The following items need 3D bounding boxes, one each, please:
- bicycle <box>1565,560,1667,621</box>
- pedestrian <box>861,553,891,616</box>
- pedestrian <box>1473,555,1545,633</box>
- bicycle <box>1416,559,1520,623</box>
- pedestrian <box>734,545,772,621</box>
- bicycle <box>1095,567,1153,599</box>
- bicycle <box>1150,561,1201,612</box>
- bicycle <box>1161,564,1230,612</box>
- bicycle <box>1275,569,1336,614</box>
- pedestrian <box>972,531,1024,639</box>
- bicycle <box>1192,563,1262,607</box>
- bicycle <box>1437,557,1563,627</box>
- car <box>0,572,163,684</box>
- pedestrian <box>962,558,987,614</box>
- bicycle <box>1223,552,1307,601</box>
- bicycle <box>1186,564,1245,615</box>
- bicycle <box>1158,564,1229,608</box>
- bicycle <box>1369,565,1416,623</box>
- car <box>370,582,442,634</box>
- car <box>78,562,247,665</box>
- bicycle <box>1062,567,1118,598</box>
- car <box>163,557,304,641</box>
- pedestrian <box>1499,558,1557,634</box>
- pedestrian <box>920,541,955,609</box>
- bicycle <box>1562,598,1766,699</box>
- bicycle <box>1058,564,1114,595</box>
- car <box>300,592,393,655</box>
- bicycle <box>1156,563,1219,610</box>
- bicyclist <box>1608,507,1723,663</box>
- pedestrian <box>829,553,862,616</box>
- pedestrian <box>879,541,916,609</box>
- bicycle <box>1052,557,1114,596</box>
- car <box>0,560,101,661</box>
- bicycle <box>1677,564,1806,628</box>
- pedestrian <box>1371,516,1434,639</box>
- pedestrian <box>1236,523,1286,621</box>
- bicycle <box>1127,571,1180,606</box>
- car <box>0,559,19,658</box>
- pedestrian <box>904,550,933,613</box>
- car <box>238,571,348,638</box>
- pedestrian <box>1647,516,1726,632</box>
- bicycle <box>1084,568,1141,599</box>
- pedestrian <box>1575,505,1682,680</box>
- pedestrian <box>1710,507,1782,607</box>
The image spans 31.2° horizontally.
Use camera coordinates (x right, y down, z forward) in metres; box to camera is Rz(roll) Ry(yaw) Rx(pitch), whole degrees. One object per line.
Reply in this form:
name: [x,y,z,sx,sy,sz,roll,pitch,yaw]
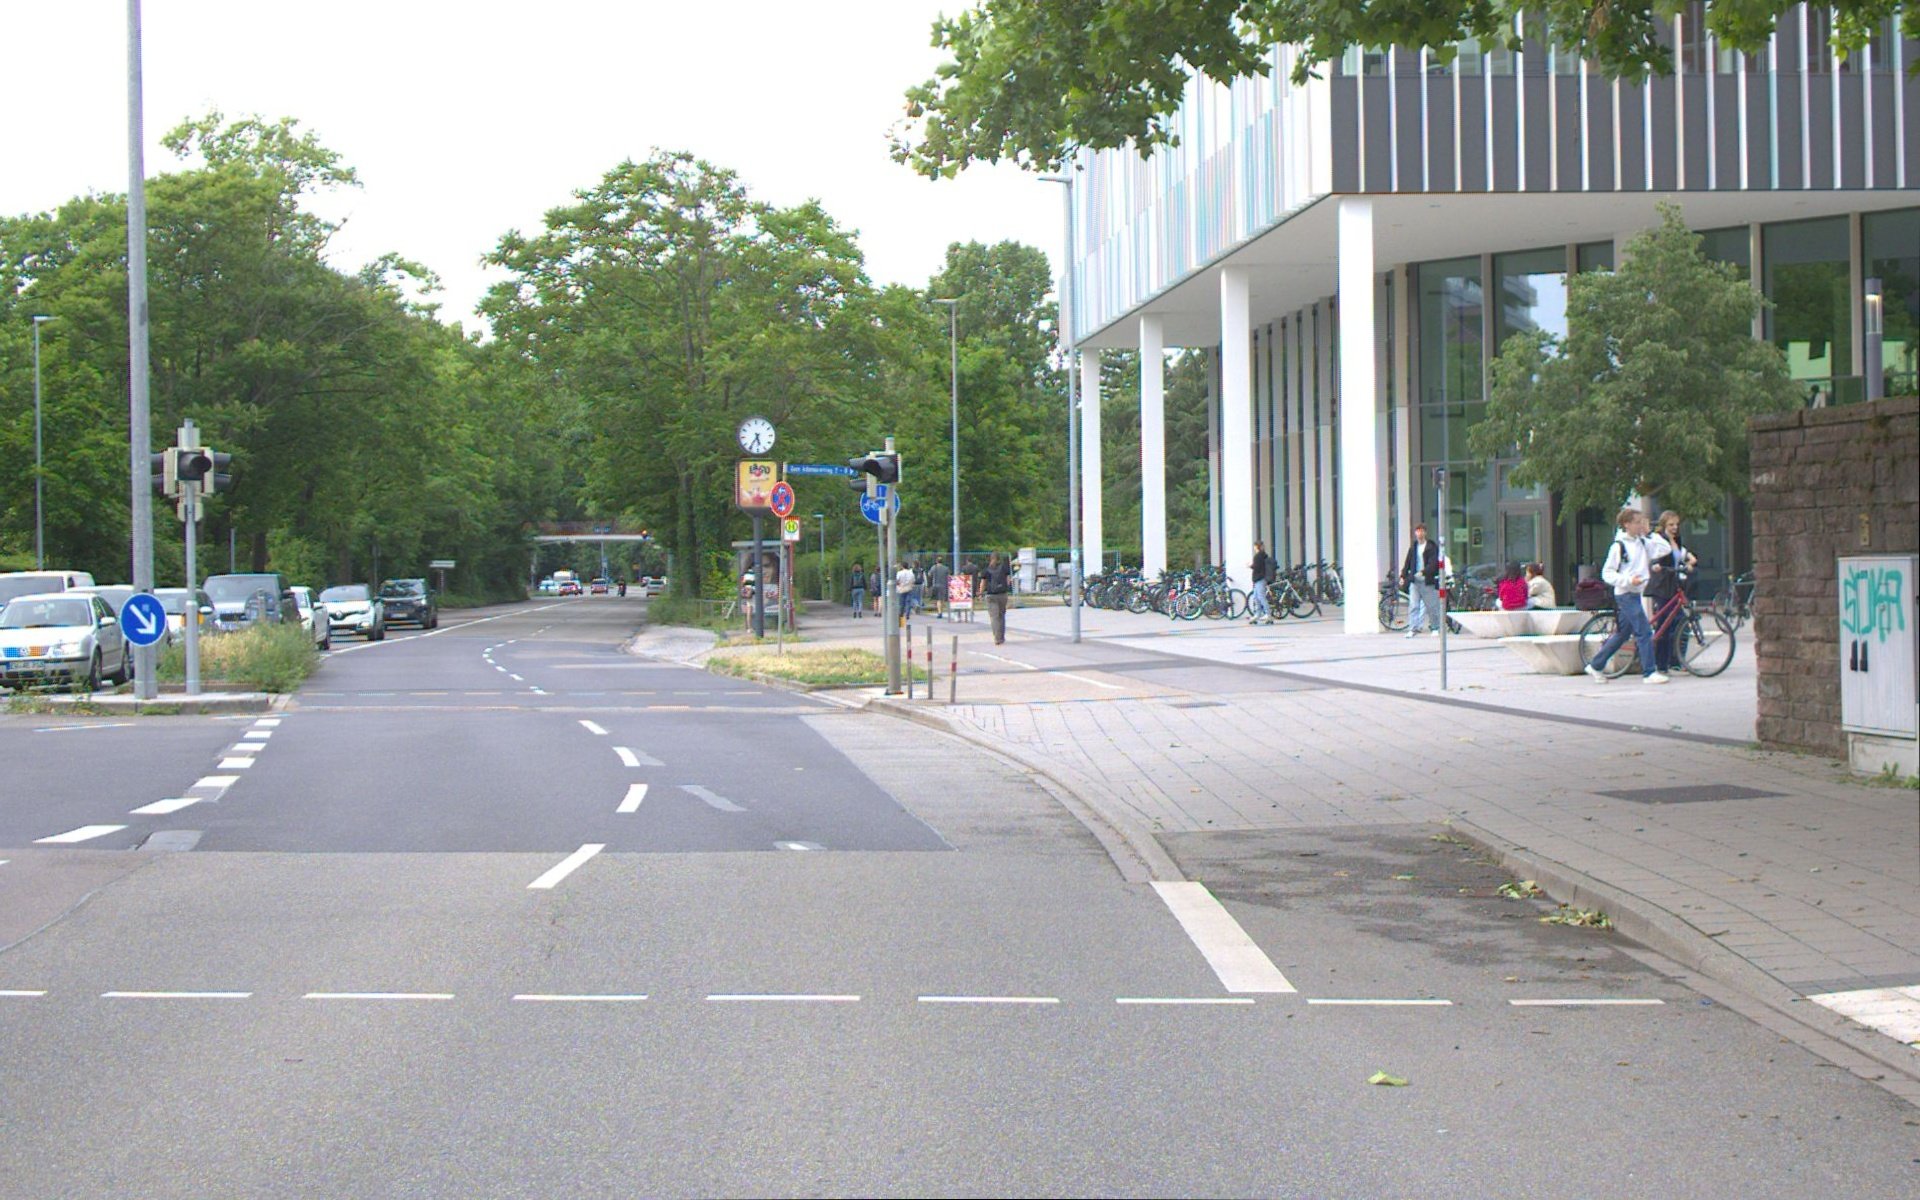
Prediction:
bicycle: [11.326,-0.169,59.313,0.774,0.998,1.955,-1,1,44]
pedestrian: [-2.733,-0.500,111.811,0.823,2.007,0.720,-1,0,-9]
pedestrian: [8.647,-0.092,54.147,0.844,1.202,0.893,-1,1,30]
bicycle: [9.249,-0.164,62.519,0.736,1.112,2.178,-1,1,43]
pedestrian: [-5.706,-0.472,94.769,0.912,2.006,0.854,-3,3,-5]
bicycle: [4.809,-0.493,100.926,1.606,0.872,0.556,-2,1,-4]
bicycle: [4.977,-0.317,79.475,0.635,1.136,2.201,-4,1,-9]
bicycle: [5.851,-0.296,85.293,1.644,1.087,0.572,-4,0,4]
bicycle: [7.558,-0.194,75.209,1.484,0.926,0.440,-3,3,-43]
pedestrian: [0.733,-0.291,65.849,0.842,2.007,0.894,-3,1,-3]
bicycle: [6.393,-0.357,82.255,1.606,0.932,0.568,-3,1,6]
bicycle: [9.624,-0.153,61.140,0.774,1.184,2.713,-1,1,44]
car: [-13.221,0.386,50.222,1.993,1.524,4.274,-1,1,2]
pedestrian: [0.434,-0.433,103.802,0.729,1.678,0.747,1,0,-1]
bicycle: [7.575,-0.582,85.494,1.985,1.140,0.647,-2,1,37]
bicycle: [5.693,-0.237,76.715,0.607,1.076,1.963,-3,1,-16]
bicycle: [5.685,-0.343,83.694,1.606,0.979,0.556,-4,1,-4]
bicycle: [8.124,-0.121,64.594,0.638,1.058,1.840,1,1,0]
car: [-17.917,0.241,111.274,1.902,1.588,4.517,-1,1,-4]
car: [-13.543,0.194,58.616,1.957,1.578,4.256,-2,1,-2]
bicycle: [3.920,-0.531,103.665,1.606,0.872,0.556,-2,1,-4]
car: [-15.031,-0.048,71.351,1.993,1.681,4.948,0,1,-1]
pedestrian: [9.050,-0.066,54.774,0.892,1.189,0.845,-1,1,10]
pedestrian: [-0.673,-0.753,103.298,0.925,2.007,1.040,-1,0,-6]
bicycle: [7.517,0.503,36.749,1.973,1.014,0.794,1,1,35]
bicycle: [3.830,-0.619,104.619,1.606,0.872,0.556,-2,1,-4]
car: [-16.524,0.615,92.719,1.993,1.541,4.180,-2,1,-4]
bicycle: [5.501,-0.325,83.111,1.400,1.040,0.559,-3,1,-4]
bicyclist: [7.551,-0.163,36.811,0.968,1.640,0.734,1,0,35]
pedestrian: [-3.729,-0.501,112.106,0.925,2.007,1.040,-1,0,-9]
pedestrian: [-1.887,-0.757,103.301,0.925,2.007,1.040,-1,0,-9]
bicycle: [3.813,-0.732,106.619,1.794,1.078,0.626,-3,1,-6]
car: [-17.676,0.171,65.251,1.771,1.841,4.489,1,1,-3]
bicycle: [12.954,-0.075,56.955,2.185,1.002,0.782,-1,0,-34]
pedestrian: [7.306,-0.374,56.772,0.842,2.007,0.894,-1,0,-3]
pedestrian: [6.285,-0.589,71.873,0.891,2.007,0.845,-1,0,-3]
bicycle: [5.067,-0.306,90.051,1.283,0.872,0.556,-2,1,-4]
car: [-16.786,0.170,55.402,1.993,1.614,4.000,-1,1,2]
pedestrian: [-1.350,-0.602,112.325,0.824,2.007,0.720,-2,0,-5]
car: [-15.272,0.073,78.934,1.903,1.460,4.912,1,1,-5]
pedestrian: [11.670,-0.417,55.244,0.843,1.829,0.894,-2,1,-41]
bicycle: [4.537,-0.494,102.099,1.606,0.872,0.556,-2,1,-4]
pedestrian: [6.929,-0.081,35.637,0.782,1.789,0.788,-1,1,39]
pedestrian: [16.328,-0.894,71.388,1.183,2.055,1.134,1,0,27]
